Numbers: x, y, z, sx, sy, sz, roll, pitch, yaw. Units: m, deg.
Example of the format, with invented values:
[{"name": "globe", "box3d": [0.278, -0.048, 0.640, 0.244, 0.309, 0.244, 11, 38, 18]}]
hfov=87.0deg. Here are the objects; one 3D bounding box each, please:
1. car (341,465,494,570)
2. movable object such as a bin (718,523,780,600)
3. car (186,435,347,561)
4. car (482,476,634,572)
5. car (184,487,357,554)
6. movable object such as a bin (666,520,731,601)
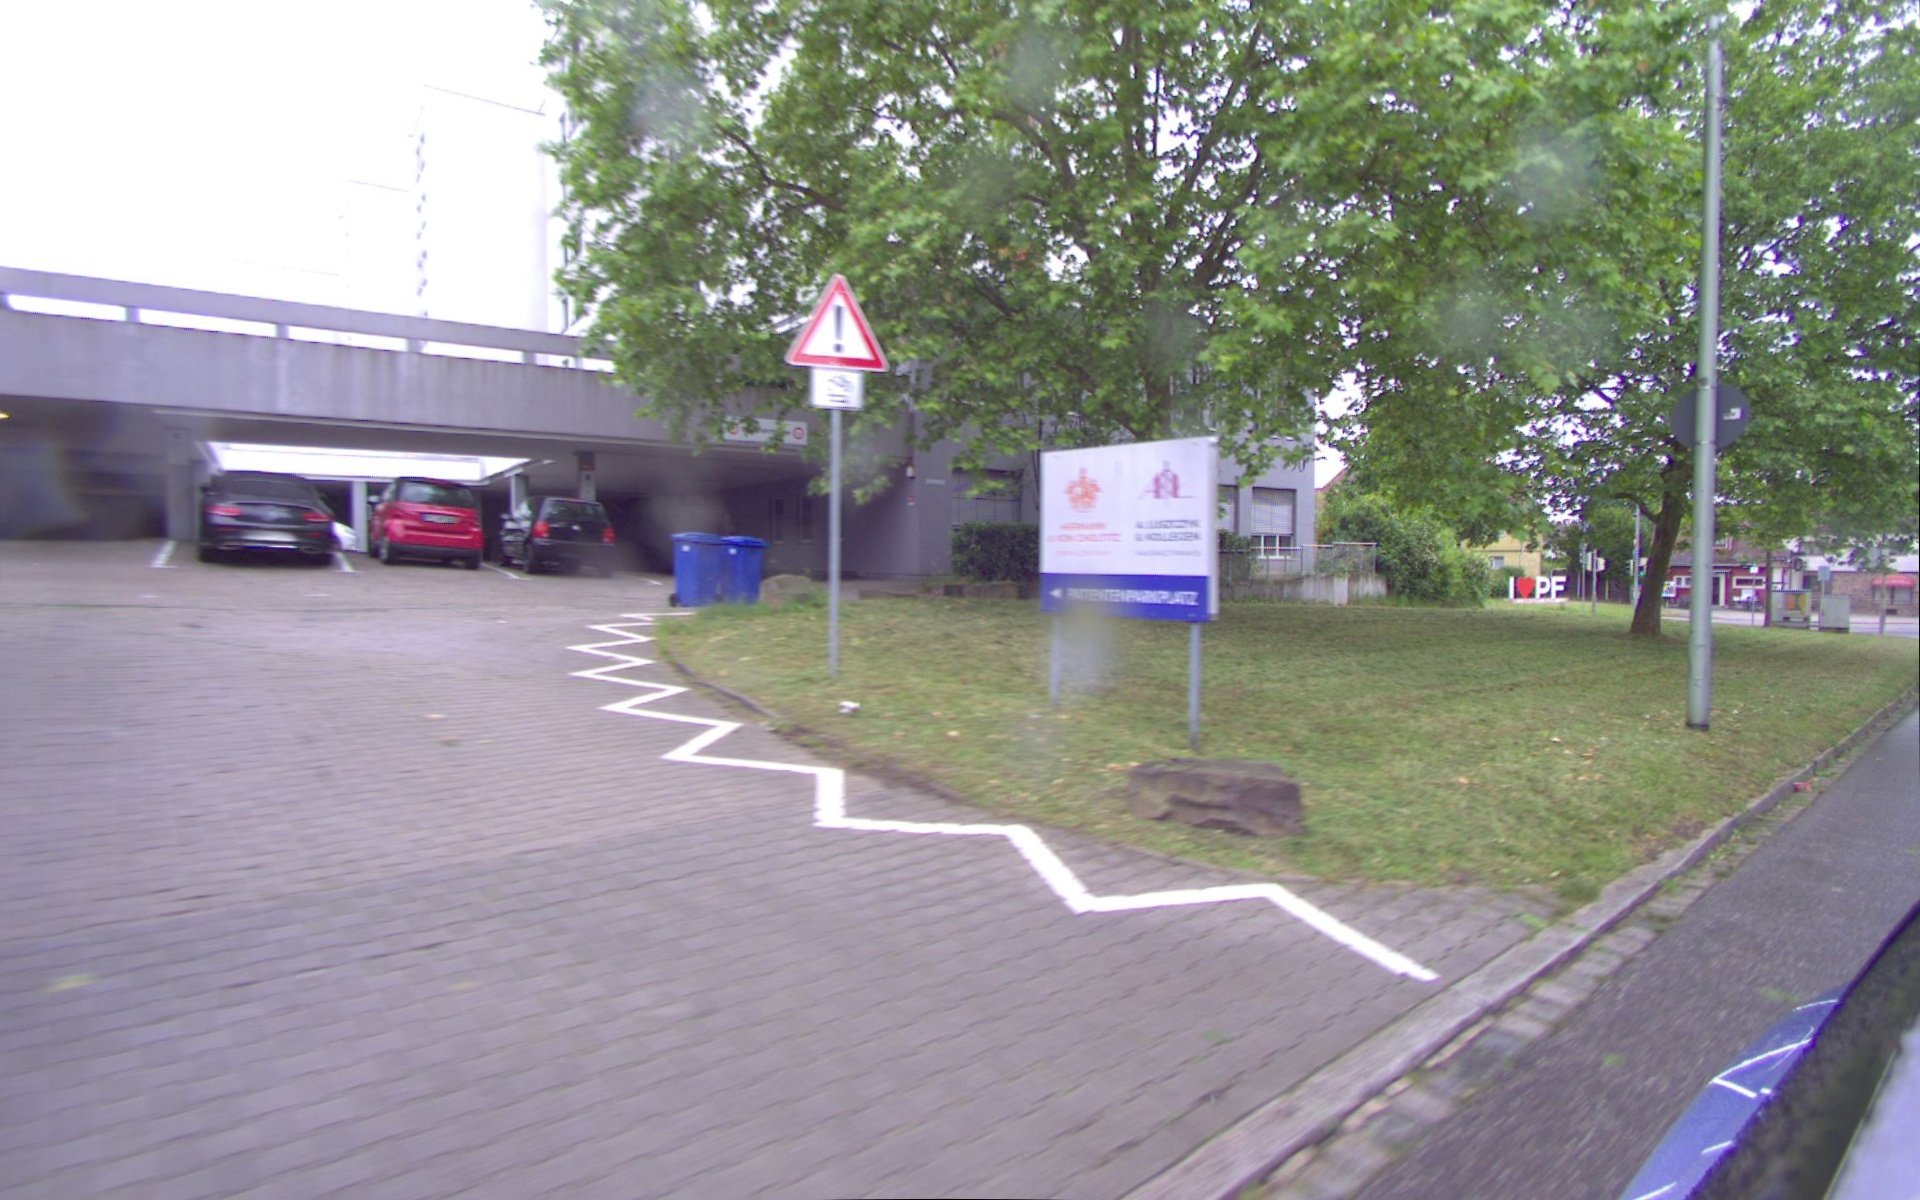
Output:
[{"name": "car", "box3d": [-10.179, -1.445, 18.829, 1.923, 1.682, 3.999, 1, 2, -37]}, {"name": "movable object such as a bin", "box3d": [-3.210, -0.571, 15.387, 0.668, 1.134, 0.652, -2, -1, 43]}, {"name": "car", "box3d": [-11.424, -1.557, 16.750, 1.962, 1.771, 4.002, 0, 2, -34]}, {"name": "car", "box3d": [-8.037, -1.429, 20.034, 1.962, 1.660, 4.002, 0, 2, -34]}, {"name": "car", "box3d": [-19.496, -2.243, 28.841, 3.919, 1.659, 1.932, 1, 3, -30]}, {"name": "movable object such as a bin", "box3d": [-3.811, -0.561, 14.761, 0.668, 1.134, 0.652, -2, -1, 43]}]
